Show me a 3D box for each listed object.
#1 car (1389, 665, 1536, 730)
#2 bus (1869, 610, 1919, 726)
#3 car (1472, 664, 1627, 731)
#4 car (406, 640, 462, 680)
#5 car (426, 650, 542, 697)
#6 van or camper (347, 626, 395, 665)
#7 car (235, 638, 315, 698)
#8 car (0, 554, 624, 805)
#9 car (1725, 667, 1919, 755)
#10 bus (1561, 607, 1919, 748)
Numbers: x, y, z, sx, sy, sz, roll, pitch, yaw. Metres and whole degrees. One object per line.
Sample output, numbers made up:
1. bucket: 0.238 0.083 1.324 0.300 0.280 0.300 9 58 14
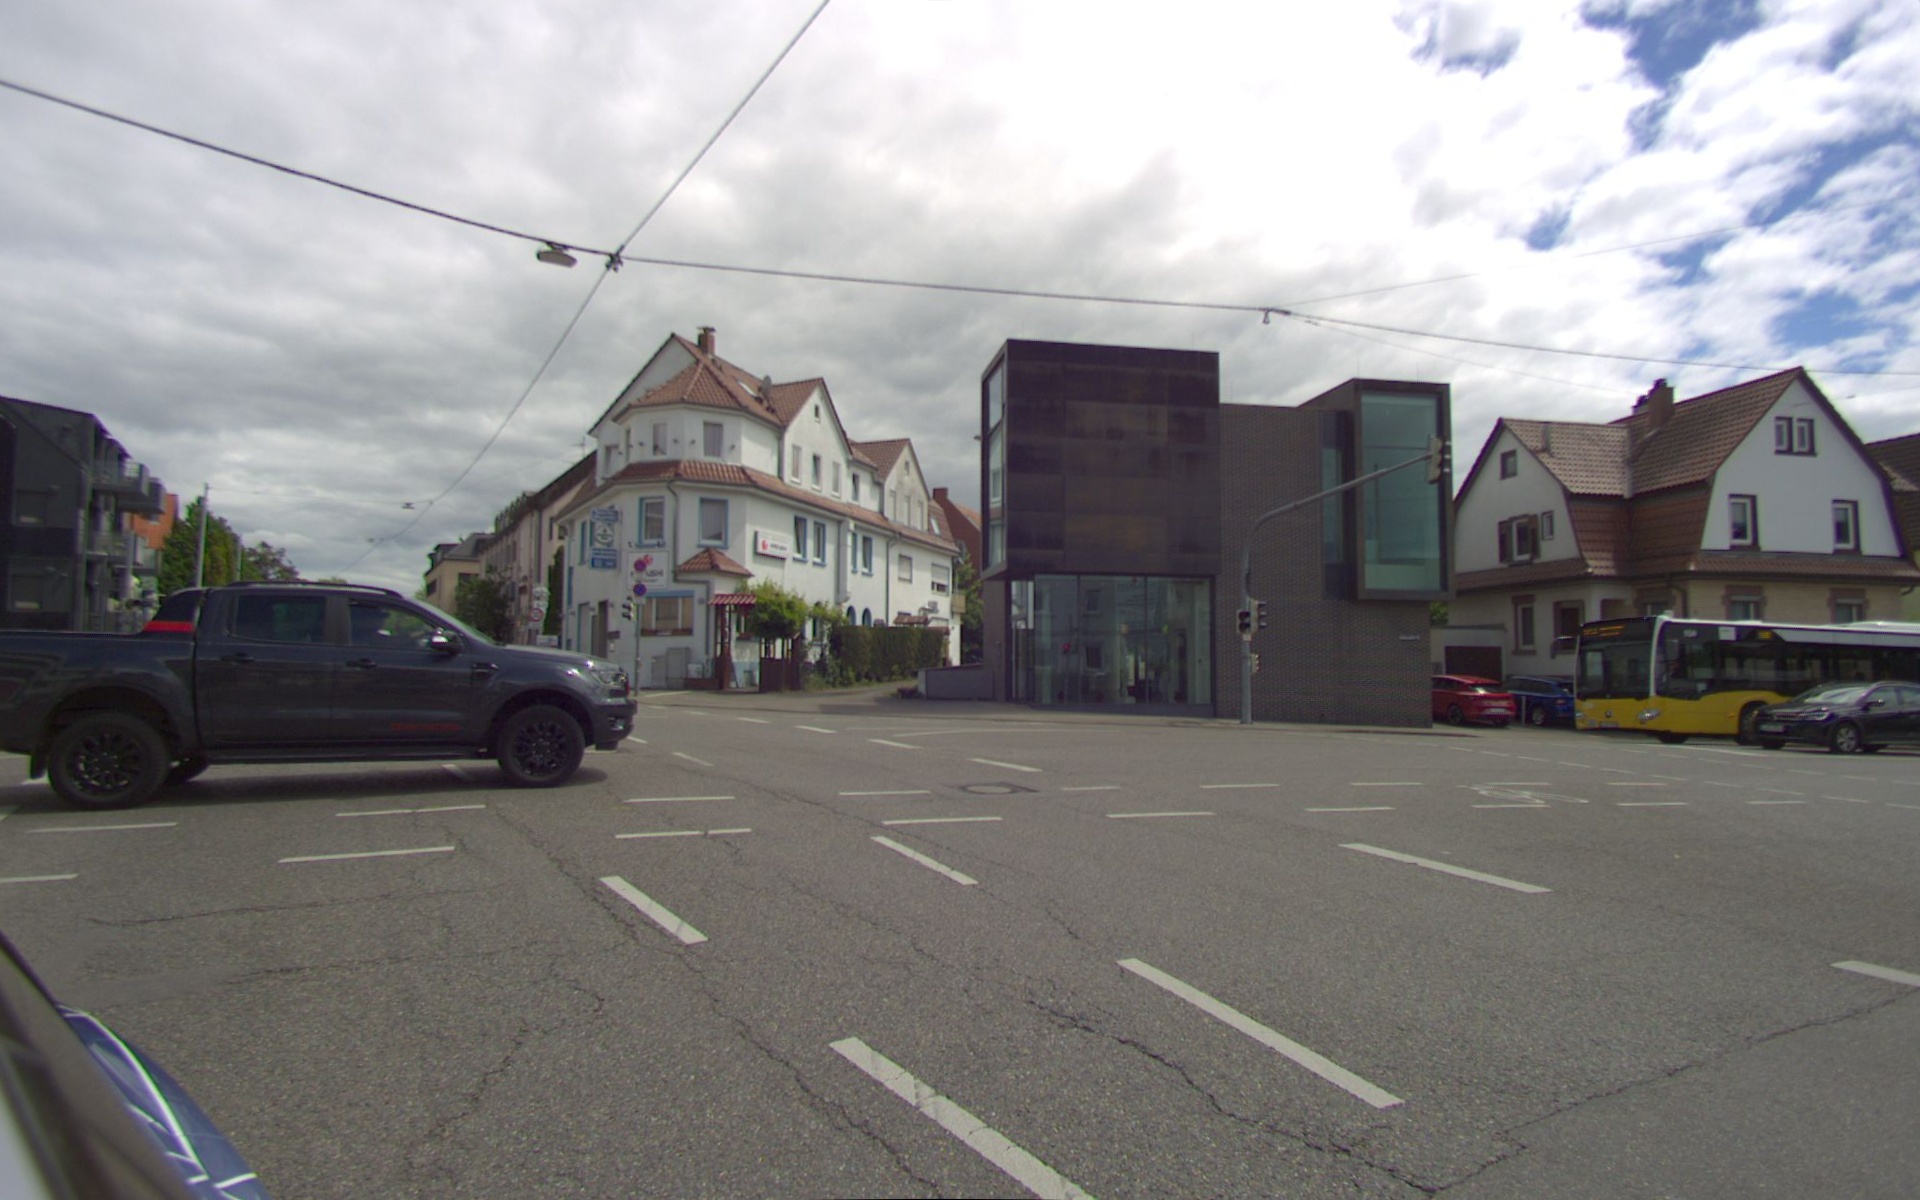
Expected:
1. car: 15.506 2.971 31.501 1.967 1.652 4.010 2 -1 -12
2. bus: 28.798 1.844 26.179 9.041 2.937 2.792 2 -3 -10
3. car: 18.445 3.015 31.900 1.967 1.696 4.010 2 0 -12
4. car: -25.565 2.911 49.159 1.791 1.826 4.429 4 -5 -34
5. car: -14.586 2.229 31.267 1.969 1.292 4.310 2 -3 -7
6. van or camper: -41.777 3.262 71.723 2.080 2.606 5.656 7 -7 -37
7. car: -21.406 2.091 31.750 1.966 1.697 4.011 0 -3 -33
8. car: -5.877 0.709 9.174 5.130 1.863 1.894 3 -4 -25
9. car: 18.540 2.283 21.011 3.936 1.652 2.003 2 -3 -8
10. bus: 19.689 1.912 24.603 9.041 3.084 2.792 2 -3 -10
